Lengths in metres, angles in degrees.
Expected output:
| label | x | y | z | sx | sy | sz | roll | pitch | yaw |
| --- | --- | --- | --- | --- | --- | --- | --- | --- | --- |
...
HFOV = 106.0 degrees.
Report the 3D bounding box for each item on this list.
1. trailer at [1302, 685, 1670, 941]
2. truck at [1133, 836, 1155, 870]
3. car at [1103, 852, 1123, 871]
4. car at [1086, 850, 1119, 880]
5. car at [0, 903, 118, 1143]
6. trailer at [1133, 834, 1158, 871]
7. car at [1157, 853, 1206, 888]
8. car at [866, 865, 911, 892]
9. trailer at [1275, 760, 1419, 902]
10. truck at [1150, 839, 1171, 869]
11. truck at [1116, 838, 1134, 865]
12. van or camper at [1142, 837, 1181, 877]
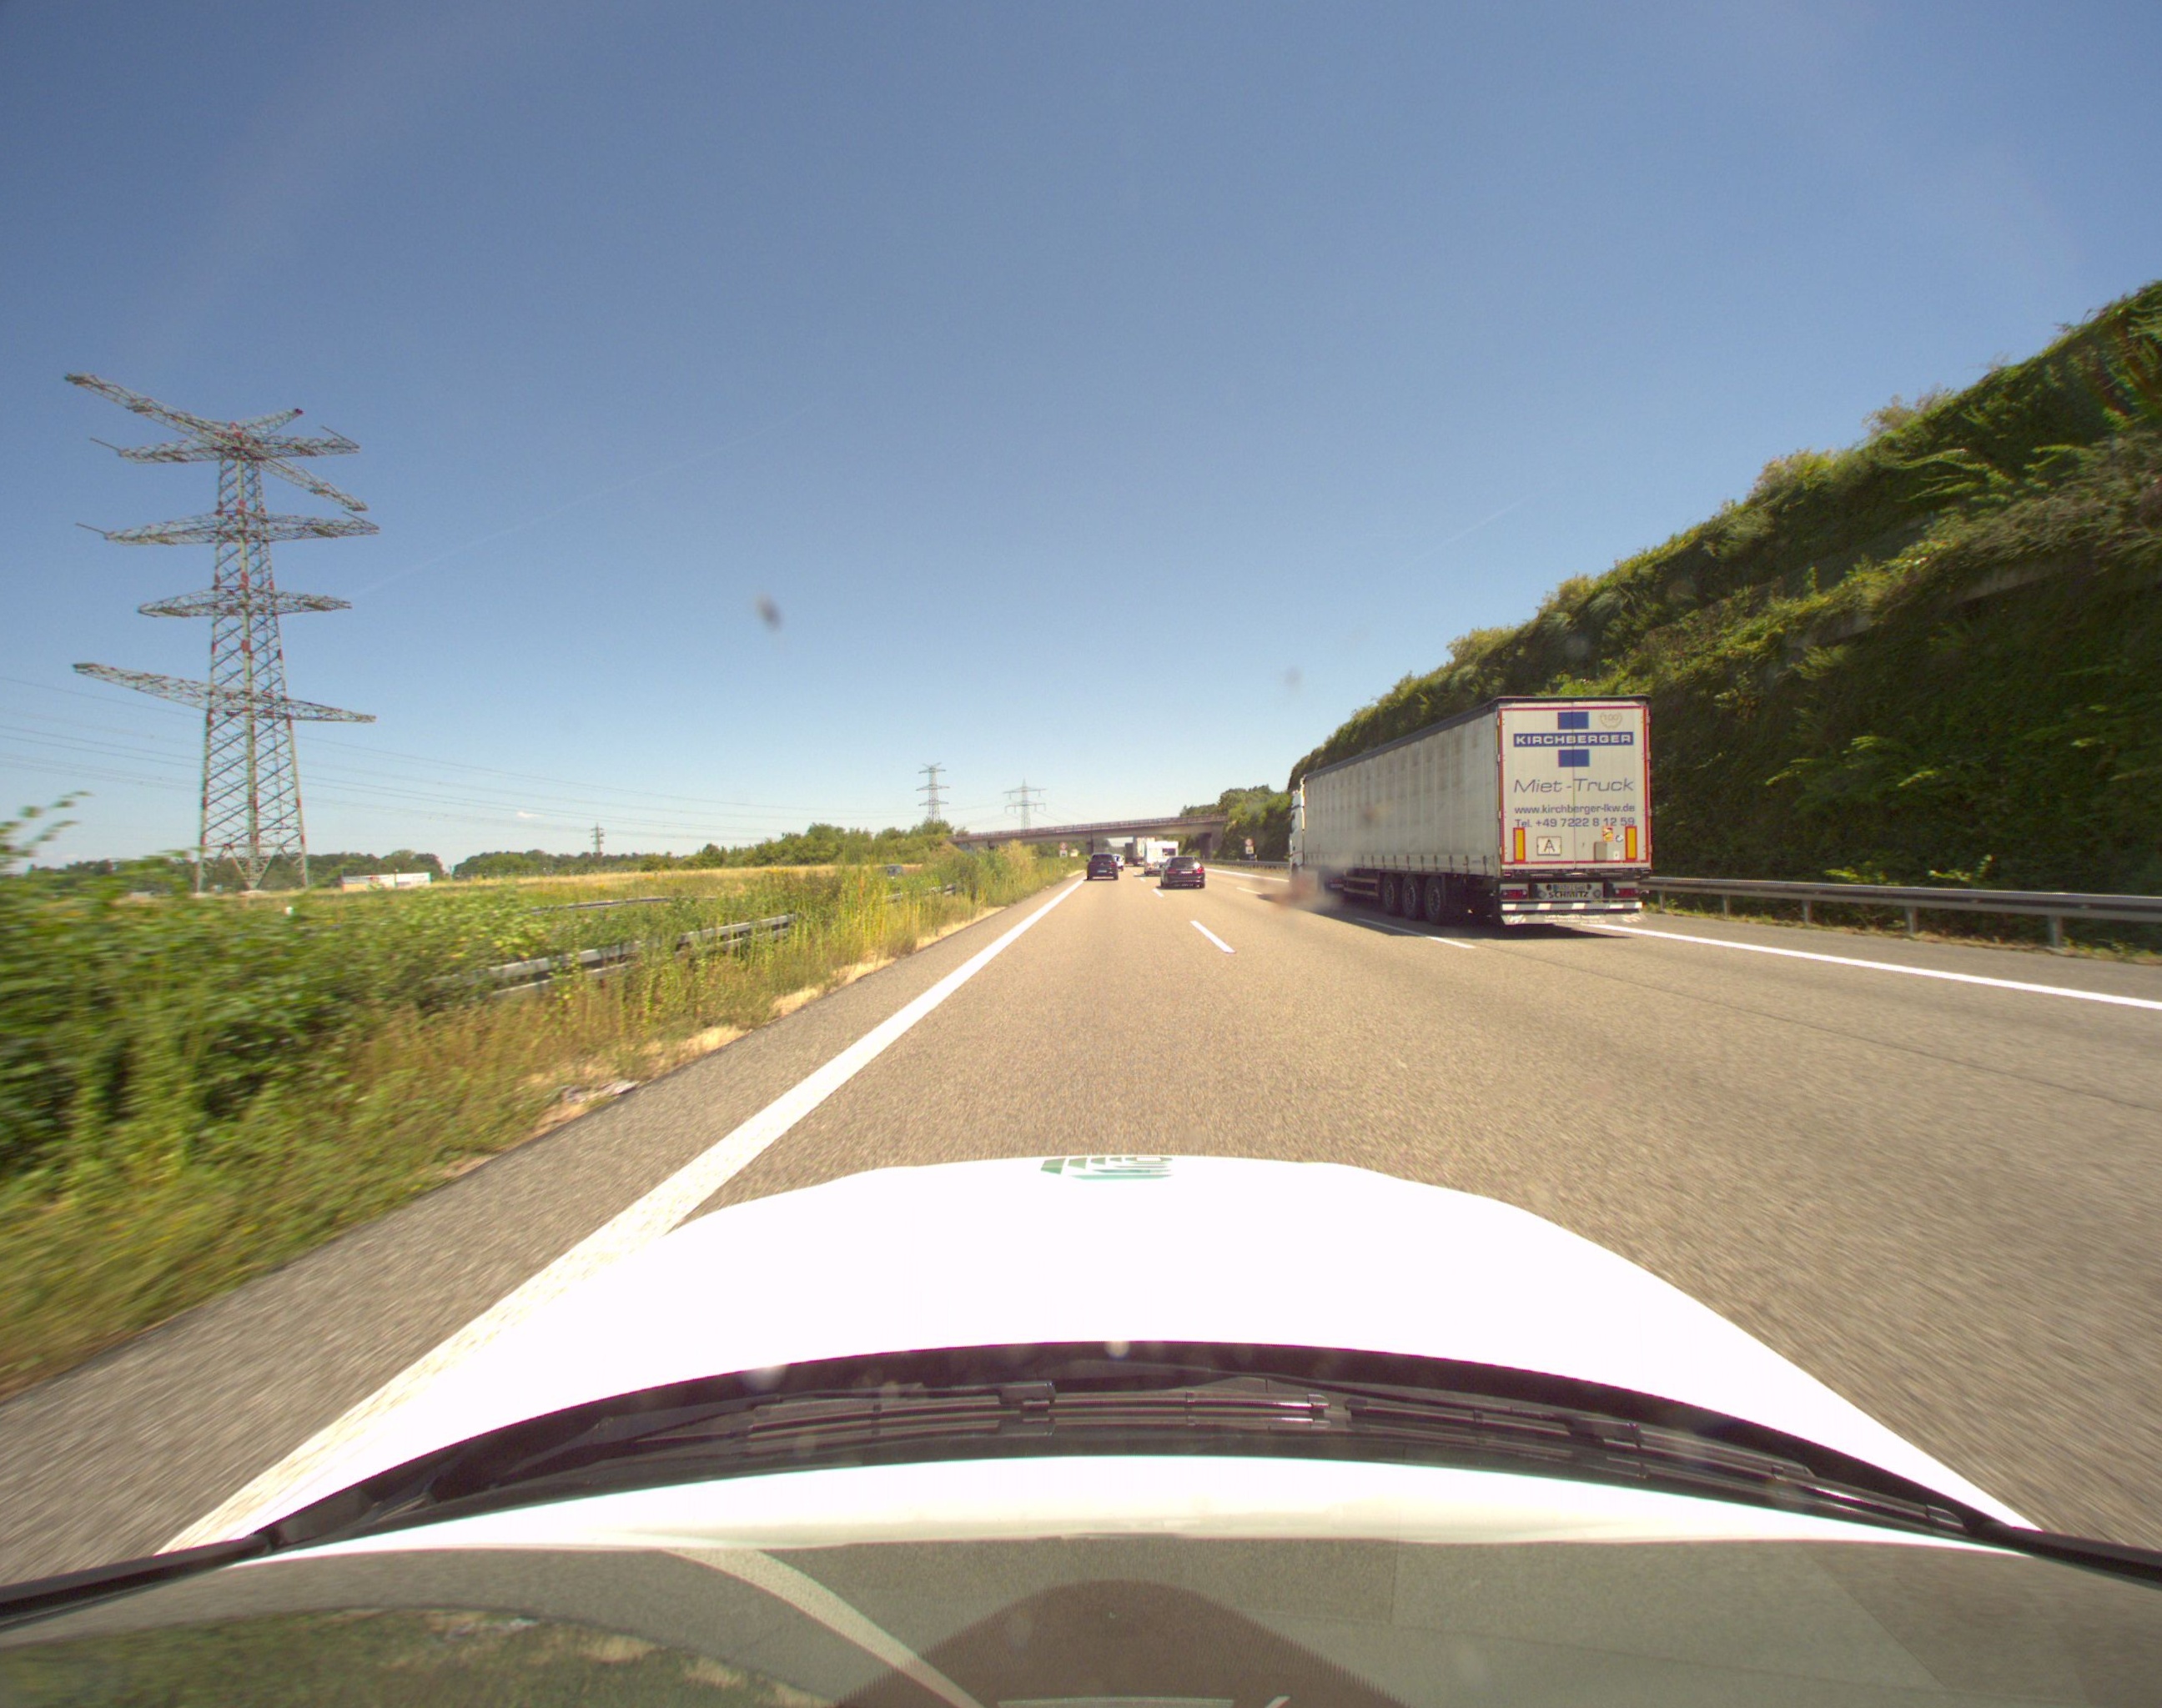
| label | x | y | z | sx | sy | sz | roll | pitch | yaw |
| --- | --- | --- | --- | --- | --- | --- | --- | --- | --- |
| trailer | 8.397 | -0.650 | 19.889 | 2.718 | 4.102 | 13.195 | -2 | 0 | 2 |
| truck | 9.301 | -0.071 | 120.984 | 3.074 | 4.885 | 6.602 | 0 | -1 | 3 |
| car | 3.219 | 0.699 | 82.959 | 1.954 | 1.814 | 4.451 | -2 | 0 | 2 |
| car | 1.372 | 0.672 | 51.909 | 1.986 | 1.772 | 4.002 | -2 | 0 | 2 |
| car | -8.614 | 1.249 | 4.179 | 1.856 | 1.654 | 4.558 | -2 | 0 | 0 |
| trailer | 8.928 | -0.135 | 114.090 | 3.074 | 4.885 | 12.267 | 0 | -1 | 3 |
| car | 4.653 | 0.711 | 38.126 | 1.834 | 1.505 | 4.740 | -1 | 0 | 2 |
| car | -13.256 | 1.671 | 56.229 | 1.855 | 1.654 | 4.560 | -2 | 0 | 2 |
| trailer | 8.641 | -0.662 | 27.343 | 2.703 | 4.102 | 6.792 | -2 | 0 | 2 |
| truck | 13.194 | 0.048 | 136.046 | 3.074 | 4.885 | 8.804 | 0 | -1 | 3 |
| truck | 8.885 | -0.524 | 163.674 | 3.497 | 5.166 | 10.266 | -1 | 0 | 3 |
| van or camper | 5.878 | 0.223 | 60.326 | 2.430 | 2.675 | 6.352 | -2 | 0 | 2 |
